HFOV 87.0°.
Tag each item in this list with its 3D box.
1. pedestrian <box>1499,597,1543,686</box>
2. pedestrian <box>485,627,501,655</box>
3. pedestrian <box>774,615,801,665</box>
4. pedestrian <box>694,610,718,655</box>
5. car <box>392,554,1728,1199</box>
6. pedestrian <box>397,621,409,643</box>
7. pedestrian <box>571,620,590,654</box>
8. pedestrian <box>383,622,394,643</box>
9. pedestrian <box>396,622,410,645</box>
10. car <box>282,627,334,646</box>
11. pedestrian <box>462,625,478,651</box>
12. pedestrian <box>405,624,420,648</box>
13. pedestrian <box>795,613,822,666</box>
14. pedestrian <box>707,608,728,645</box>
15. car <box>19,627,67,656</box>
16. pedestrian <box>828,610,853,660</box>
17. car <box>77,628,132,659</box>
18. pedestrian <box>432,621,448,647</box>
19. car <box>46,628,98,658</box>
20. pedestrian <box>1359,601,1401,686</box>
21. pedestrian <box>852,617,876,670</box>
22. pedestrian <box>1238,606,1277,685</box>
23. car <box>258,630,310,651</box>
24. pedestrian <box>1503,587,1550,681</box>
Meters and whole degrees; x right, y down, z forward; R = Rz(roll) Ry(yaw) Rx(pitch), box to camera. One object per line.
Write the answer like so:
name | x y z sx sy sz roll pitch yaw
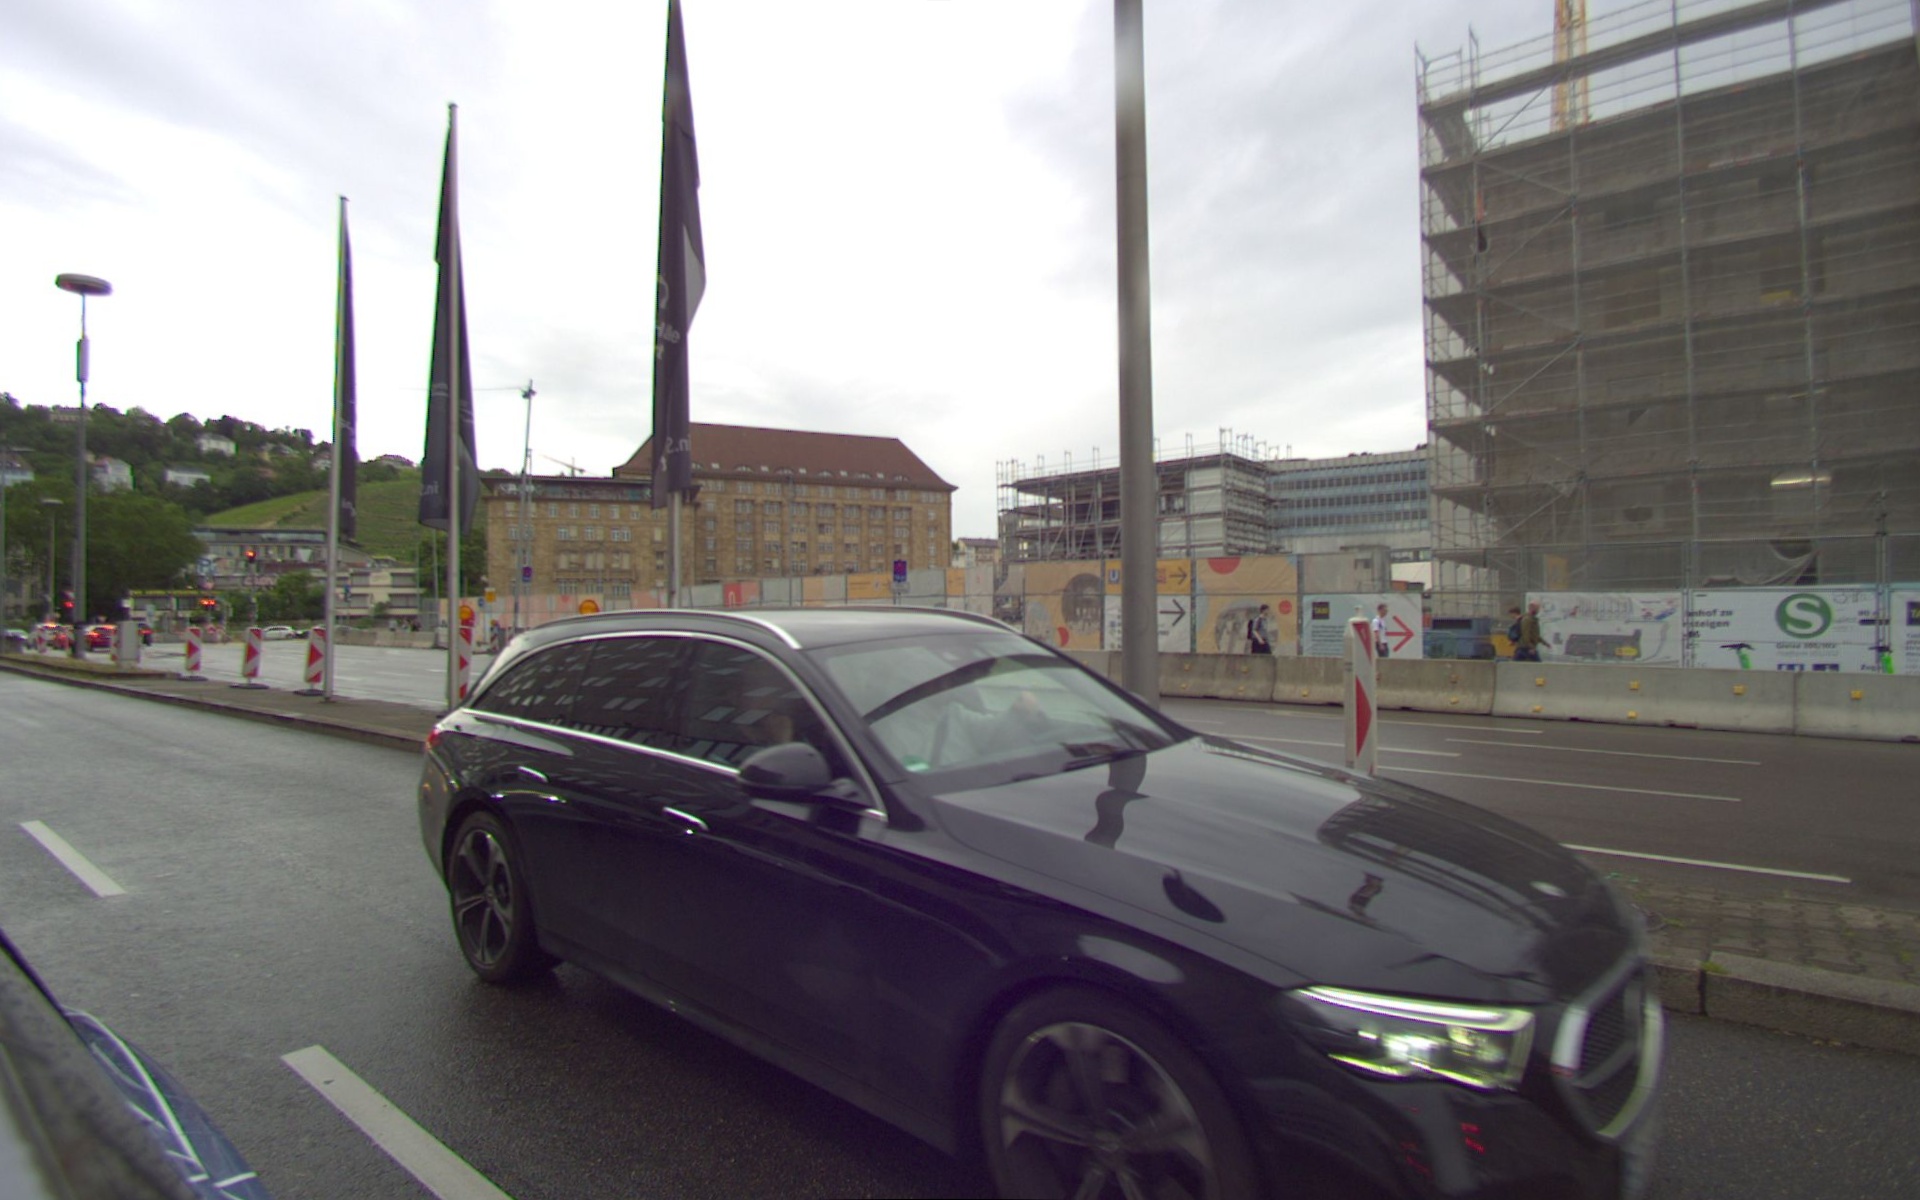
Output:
pedestrian | 11.906 0.874 21.470 0.717 1.850 0.475 -1 0 41
pedestrian | -27.505 2.398 59.588 0.544 1.628 0.706 -1 0 41
pedestrian | -6.105 1.397 35.781 0.704 1.746 0.719 -1 0 -31
pedestrian | -10.463 1.324 41.648 0.720 1.850 0.656 -1 0 41
car | -0.181 0.694 3.648 4.585 1.480 1.836 -1 0 41
pedestrian | -42.593 2.449 77.411 0.704 1.628 0.545 -1 0 -37
pedestrian | -18.452 1.772 49.199 0.544 1.628 0.706 -1 0 41
pedestrian | -43.465 2.463 76.959 0.704 1.628 0.545 -1 0 -36
pedestrian | -40.204 2.407 73.073 0.544 1.628 0.706 -1 0 41
car | -60.300 3.377 93.584 3.934 1.644 2.005 0 -2 -36
pedestrian | -30.270 2.340 62.533 0.544 1.628 0.706 -1 0 41
pedestrian | -37.097 2.430 68.602 0.544 1.628 0.706 -1 0 41
pedestrian | -5.416 1.407 36.167 0.704 1.850 0.719 -1 0 -31
pedestrian | -10.695 1.164 44.704 0.544 1.628 0.706 -1 0 41
car | -59.609 2.665 65.753 3.913 1.707 1.763 -1 0 40
pedestrian | -4.264 1.234 36.042 0.704 1.757 0.565 -1 0 -29
car | -48.355 2.443 57.200 3.914 1.707 1.762 -2 -2 41
pedestrian | -32.736 2.135 63.739 0.544 1.628 0.706 -1 0 41
car | -54.083 2.571 61.599 3.913 1.707 1.763 -1 0 40
pedestrian | 9.296 0.951 22.392 0.717 1.850 0.475 -1 0 41
pedestrian | -3.451 1.555 36.285 0.651 1.850 0.557 -1 0 -29
pedestrian | 7.183 1.087 24.451 0.717 1.850 0.579 -1 0 41
car | -68.944 4.102 103.257 4.136 1.871 1.833 -1 0 -44
pedestrian | 11.428 0.670 20.411 0.717 1.850 0.475 -1 0 41
